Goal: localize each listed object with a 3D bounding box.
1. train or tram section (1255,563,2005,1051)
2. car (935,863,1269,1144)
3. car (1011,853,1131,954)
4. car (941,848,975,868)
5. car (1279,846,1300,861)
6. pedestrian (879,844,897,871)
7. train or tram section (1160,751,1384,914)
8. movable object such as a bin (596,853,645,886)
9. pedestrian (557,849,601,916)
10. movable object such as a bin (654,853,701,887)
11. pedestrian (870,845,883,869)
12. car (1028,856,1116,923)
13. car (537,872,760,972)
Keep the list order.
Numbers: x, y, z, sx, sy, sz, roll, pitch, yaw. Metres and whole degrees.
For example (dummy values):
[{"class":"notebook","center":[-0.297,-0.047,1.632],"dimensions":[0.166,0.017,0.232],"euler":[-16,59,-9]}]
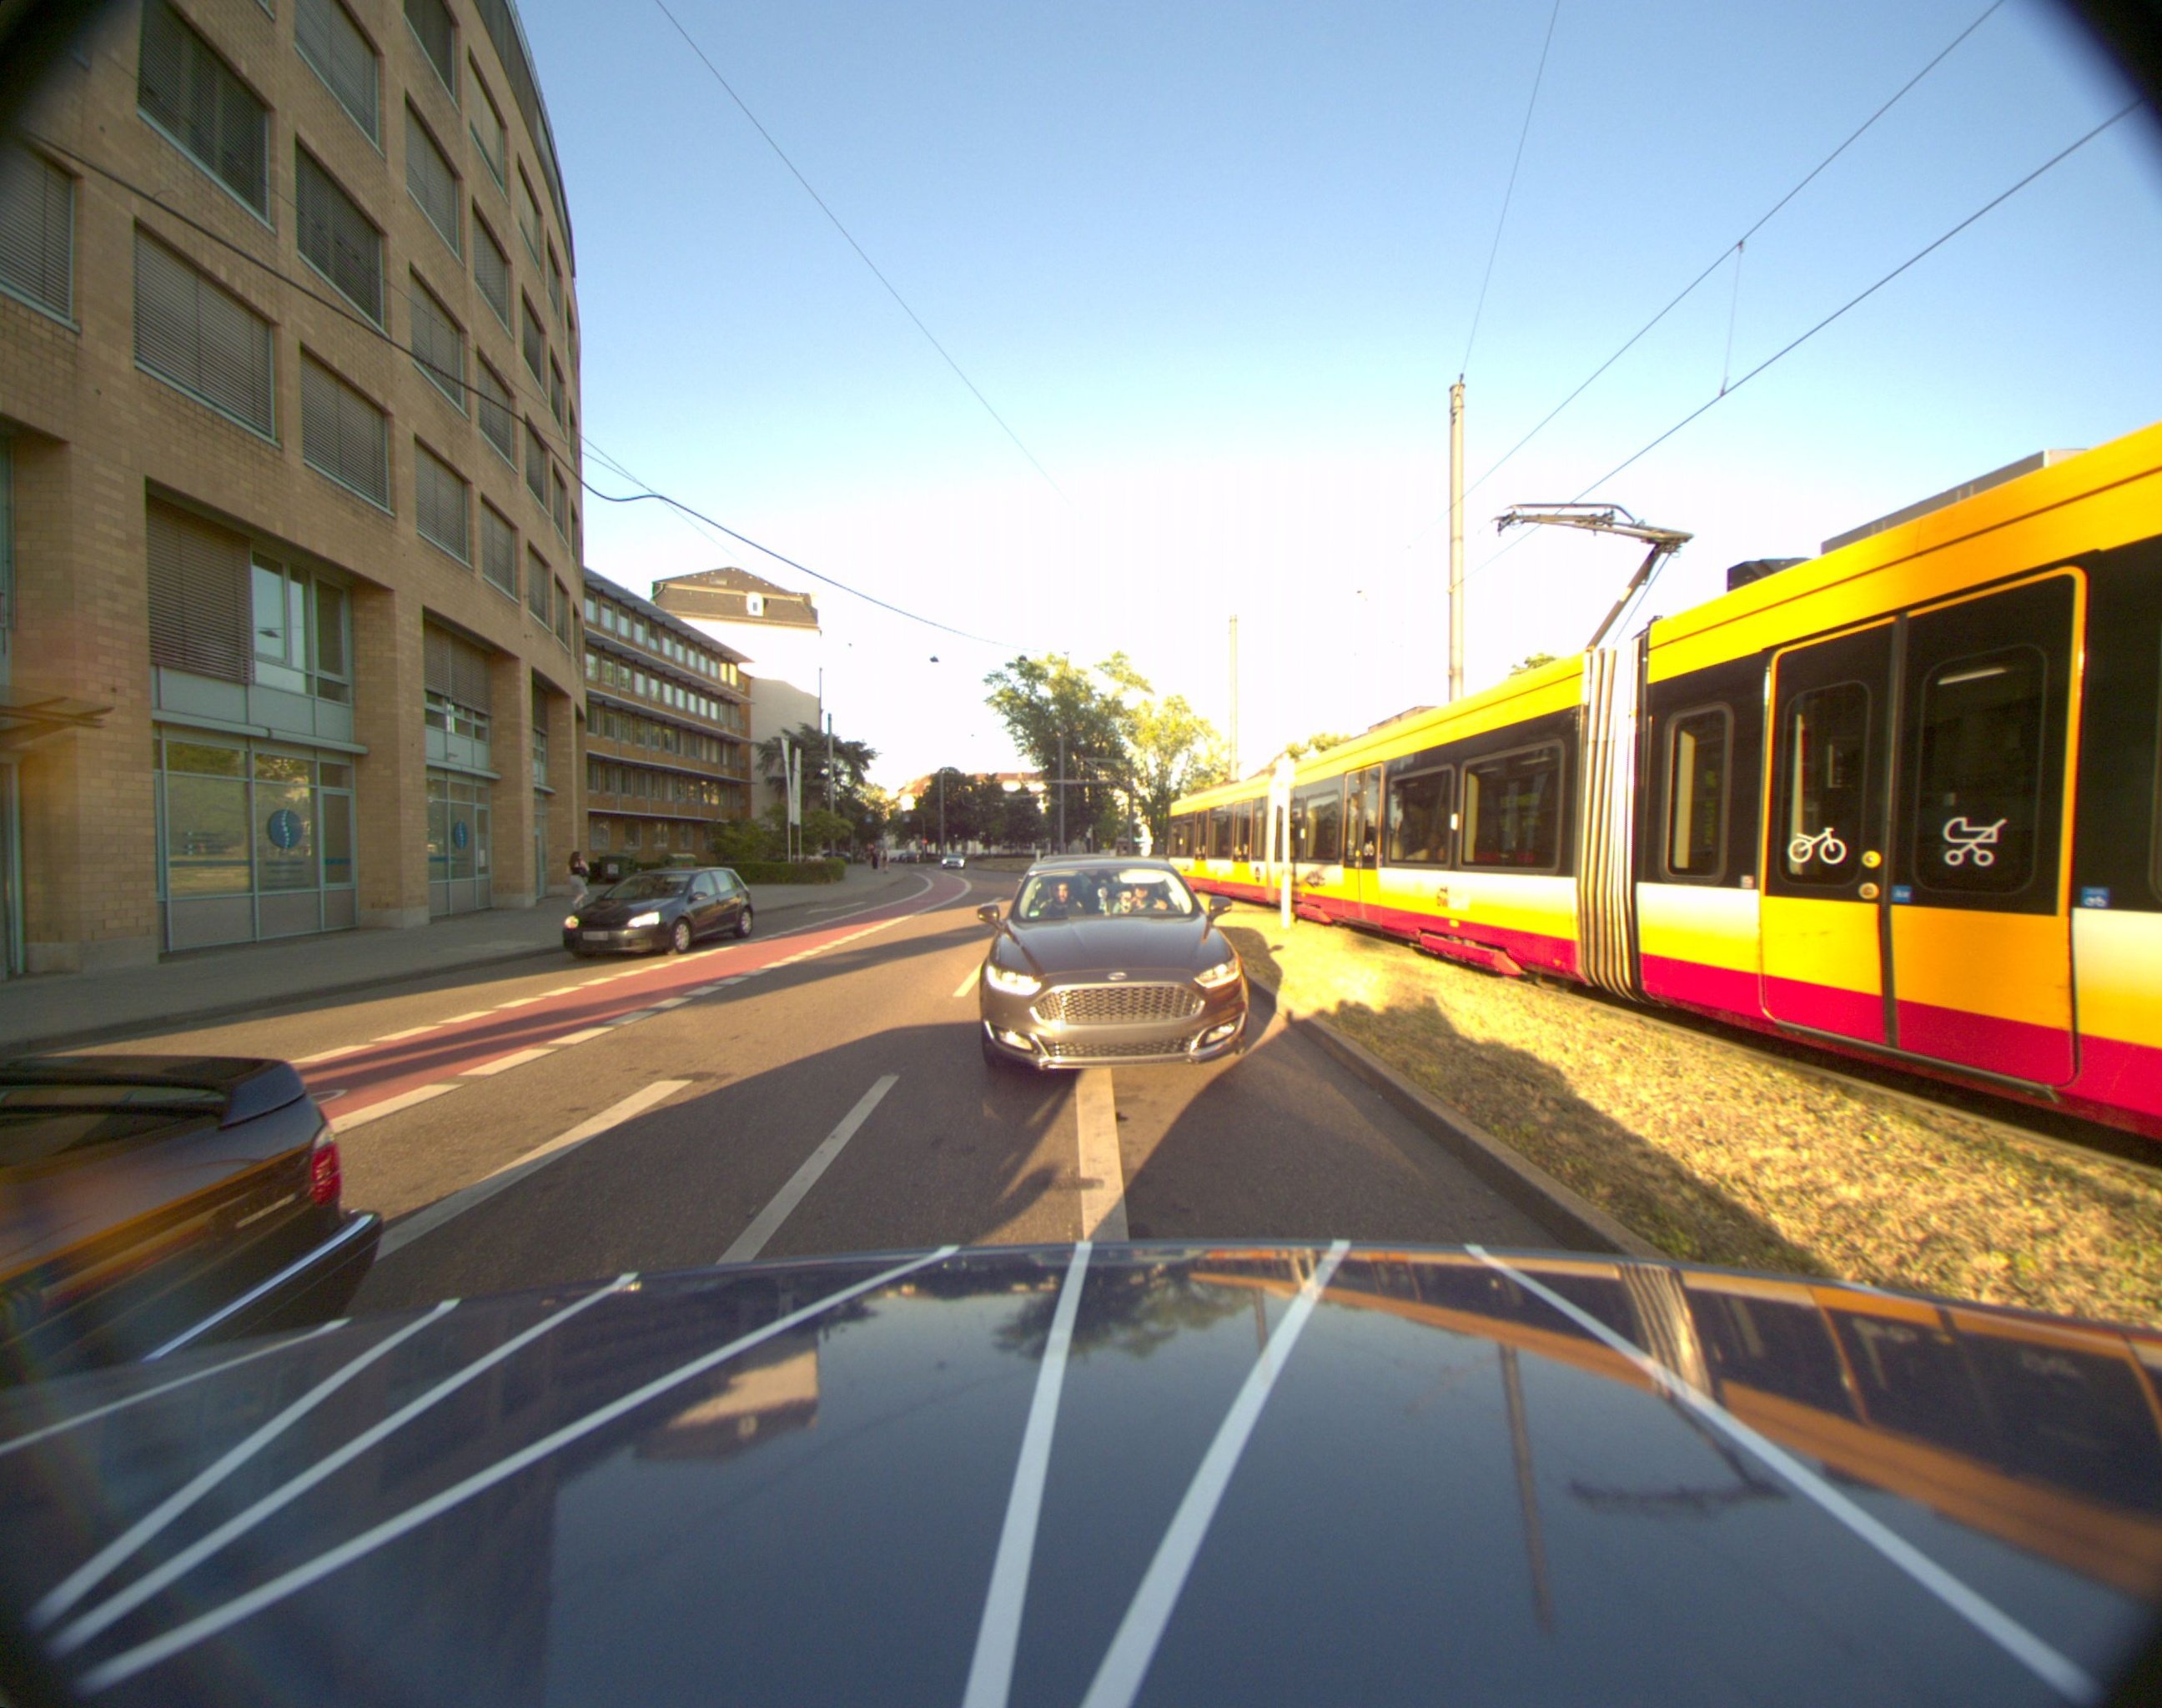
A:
[{"class":"train or tram section","center":[5.624,-0.436,11.941],"dimensions":[2.885,3.717,12.181],"euler":[-1,1,0]},{"class":"car","center":[0.162,0.889,6.703],"dimensions":[1.890,1.477,4.725],"euler":[-1,1,1]},{"class":"car","center":[-0.113,0.795,14.446],"dimensions":[1.897,1.527,4.704],"euler":[-1,1,1]},{"class":"car","center":[-10.978,0.331,68.169],"dimensions":[1.998,1.740,4.001],"euler":[-1,1,6]},{"class":"car","center":[27.579,-0.107,100.336],"dimensions":[1.995,1.867,3.910],"euler":[0,1,27]},{"class":"pedestrian","center":[-13.605,0.260,53.497],"dimensions":[0.911,1.884,1.126],"euler":[-1,1,1]},{"class":"train or tram section","center":[5.059,-0.591,23.593],"dimensions":[2.914,3.717,12.184],"euler":[-1,1,-5]},{"class":"movable object such as a bin","center":[-21.190,0.691,35.019],"dimensions":[1.427,1.451,1.332],"euler":[-1,1,-2]},{"class":"pedestrian","center":[-12.865,0.708,19.476],"dimensions":[0.628,1.672,0.713],"euler":[-1,1,-3]},{"class":"movable object such as a bin","center":[-18.273,0.718,34.439],"dimensions":[1.427,1.451,1.332],"euler":[-1,1,-3]},{"class":"pedestrian","center":[-14.939,0.213,55.601],"dimensions":[0.728,1.797,0.724],"euler":[-1,1,1]},{"class":"car","center":[-0.264,0.828,19.592],"dimensions":[1.999,1.453,4.142],"euler":[-1,1,-2]},{"class":"car","center":[-7.515,1.099,13.726],"dimensions":[1.759,1.379,3.999],"euler":[-1,1,-1]}]
